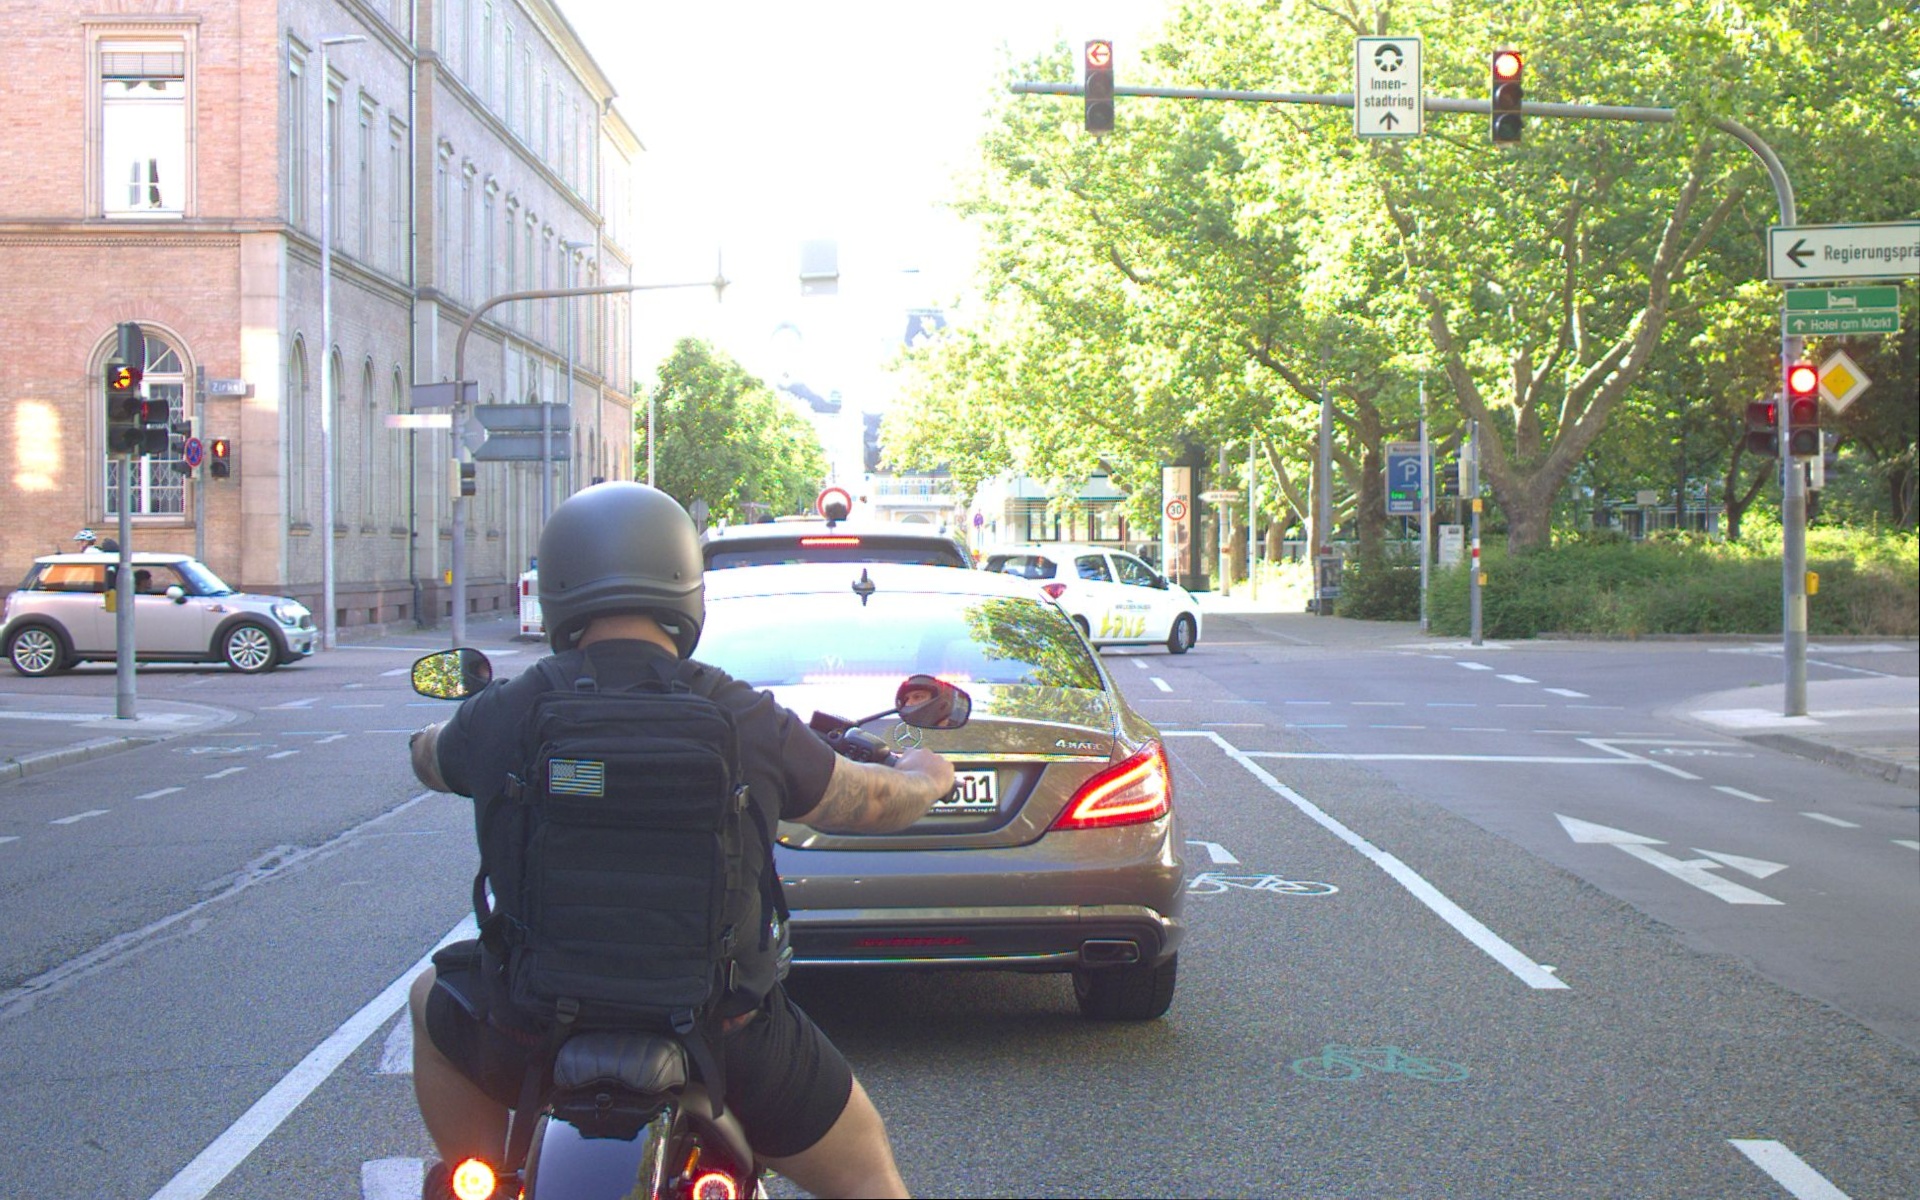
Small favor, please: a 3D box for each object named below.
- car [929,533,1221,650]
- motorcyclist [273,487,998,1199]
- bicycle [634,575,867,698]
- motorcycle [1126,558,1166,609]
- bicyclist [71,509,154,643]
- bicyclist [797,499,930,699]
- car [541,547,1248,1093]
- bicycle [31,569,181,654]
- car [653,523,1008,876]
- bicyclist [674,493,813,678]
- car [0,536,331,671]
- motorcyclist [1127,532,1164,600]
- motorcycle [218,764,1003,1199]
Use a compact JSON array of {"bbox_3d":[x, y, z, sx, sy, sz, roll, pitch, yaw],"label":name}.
[{"bbox_3d":[1.566,-0.117,45.649,1.860,1.481,3.899,1,1,40],"label":"car"},{"bbox_3d":[-0.451,0.629,5.413,0.989,1.591,1.404,0,1,-1],"label":"motorcyclist"},{"bbox_3d":[-1.957,0.336,31.946,2.160,1.099,0.704,-1,0,34],"label":"bicycle"},{"bbox_3d":[4.640,-0.426,85.947,0.838,1.241,2.283,0,1,-1],"label":"motorcycle"},{"bbox_3d":[-11.089,-0.314,45.003,0.975,1.737,0.609,0,1,-5],"label":"bicyclist"},{"bbox_3d":[-0.832,-0.020,29.591,0.703,1.687,0.964,-1,1,-39],"label":"bicyclist"},{"bbox_3d":[-0.430,0.562,11.607,1.945,1.468,4.363,0,1,-7],"label":"car"},{"bbox_3d":[-11.169,0.145,45.013,1.833,1.101,0.612,0,1,-5],"label":"bicycle"},{"bbox_3d":[-0.637,0.413,17.773,1.612,1.602,4.329,0,1,-1],"label":"car"},{"bbox_3d":[-2.013,-0.136,31.978,1.046,1.689,0.704,-1,0,34],"label":"bicyclist"},{"bbox_3d":[-9.498,0.026,40.612,3.895,1.475,1.828,-1,1,-5],"label":"car"},{"bbox_3d":[4.635,-0.859,85.986,0.838,1.697,1.180,0,1,-1],"label":"motorcyclist"},{"bbox_3d":[-0.454,0.884,5.572,0.989,1.075,2.452,0,1,-1],"label":"motorcycle"}]
